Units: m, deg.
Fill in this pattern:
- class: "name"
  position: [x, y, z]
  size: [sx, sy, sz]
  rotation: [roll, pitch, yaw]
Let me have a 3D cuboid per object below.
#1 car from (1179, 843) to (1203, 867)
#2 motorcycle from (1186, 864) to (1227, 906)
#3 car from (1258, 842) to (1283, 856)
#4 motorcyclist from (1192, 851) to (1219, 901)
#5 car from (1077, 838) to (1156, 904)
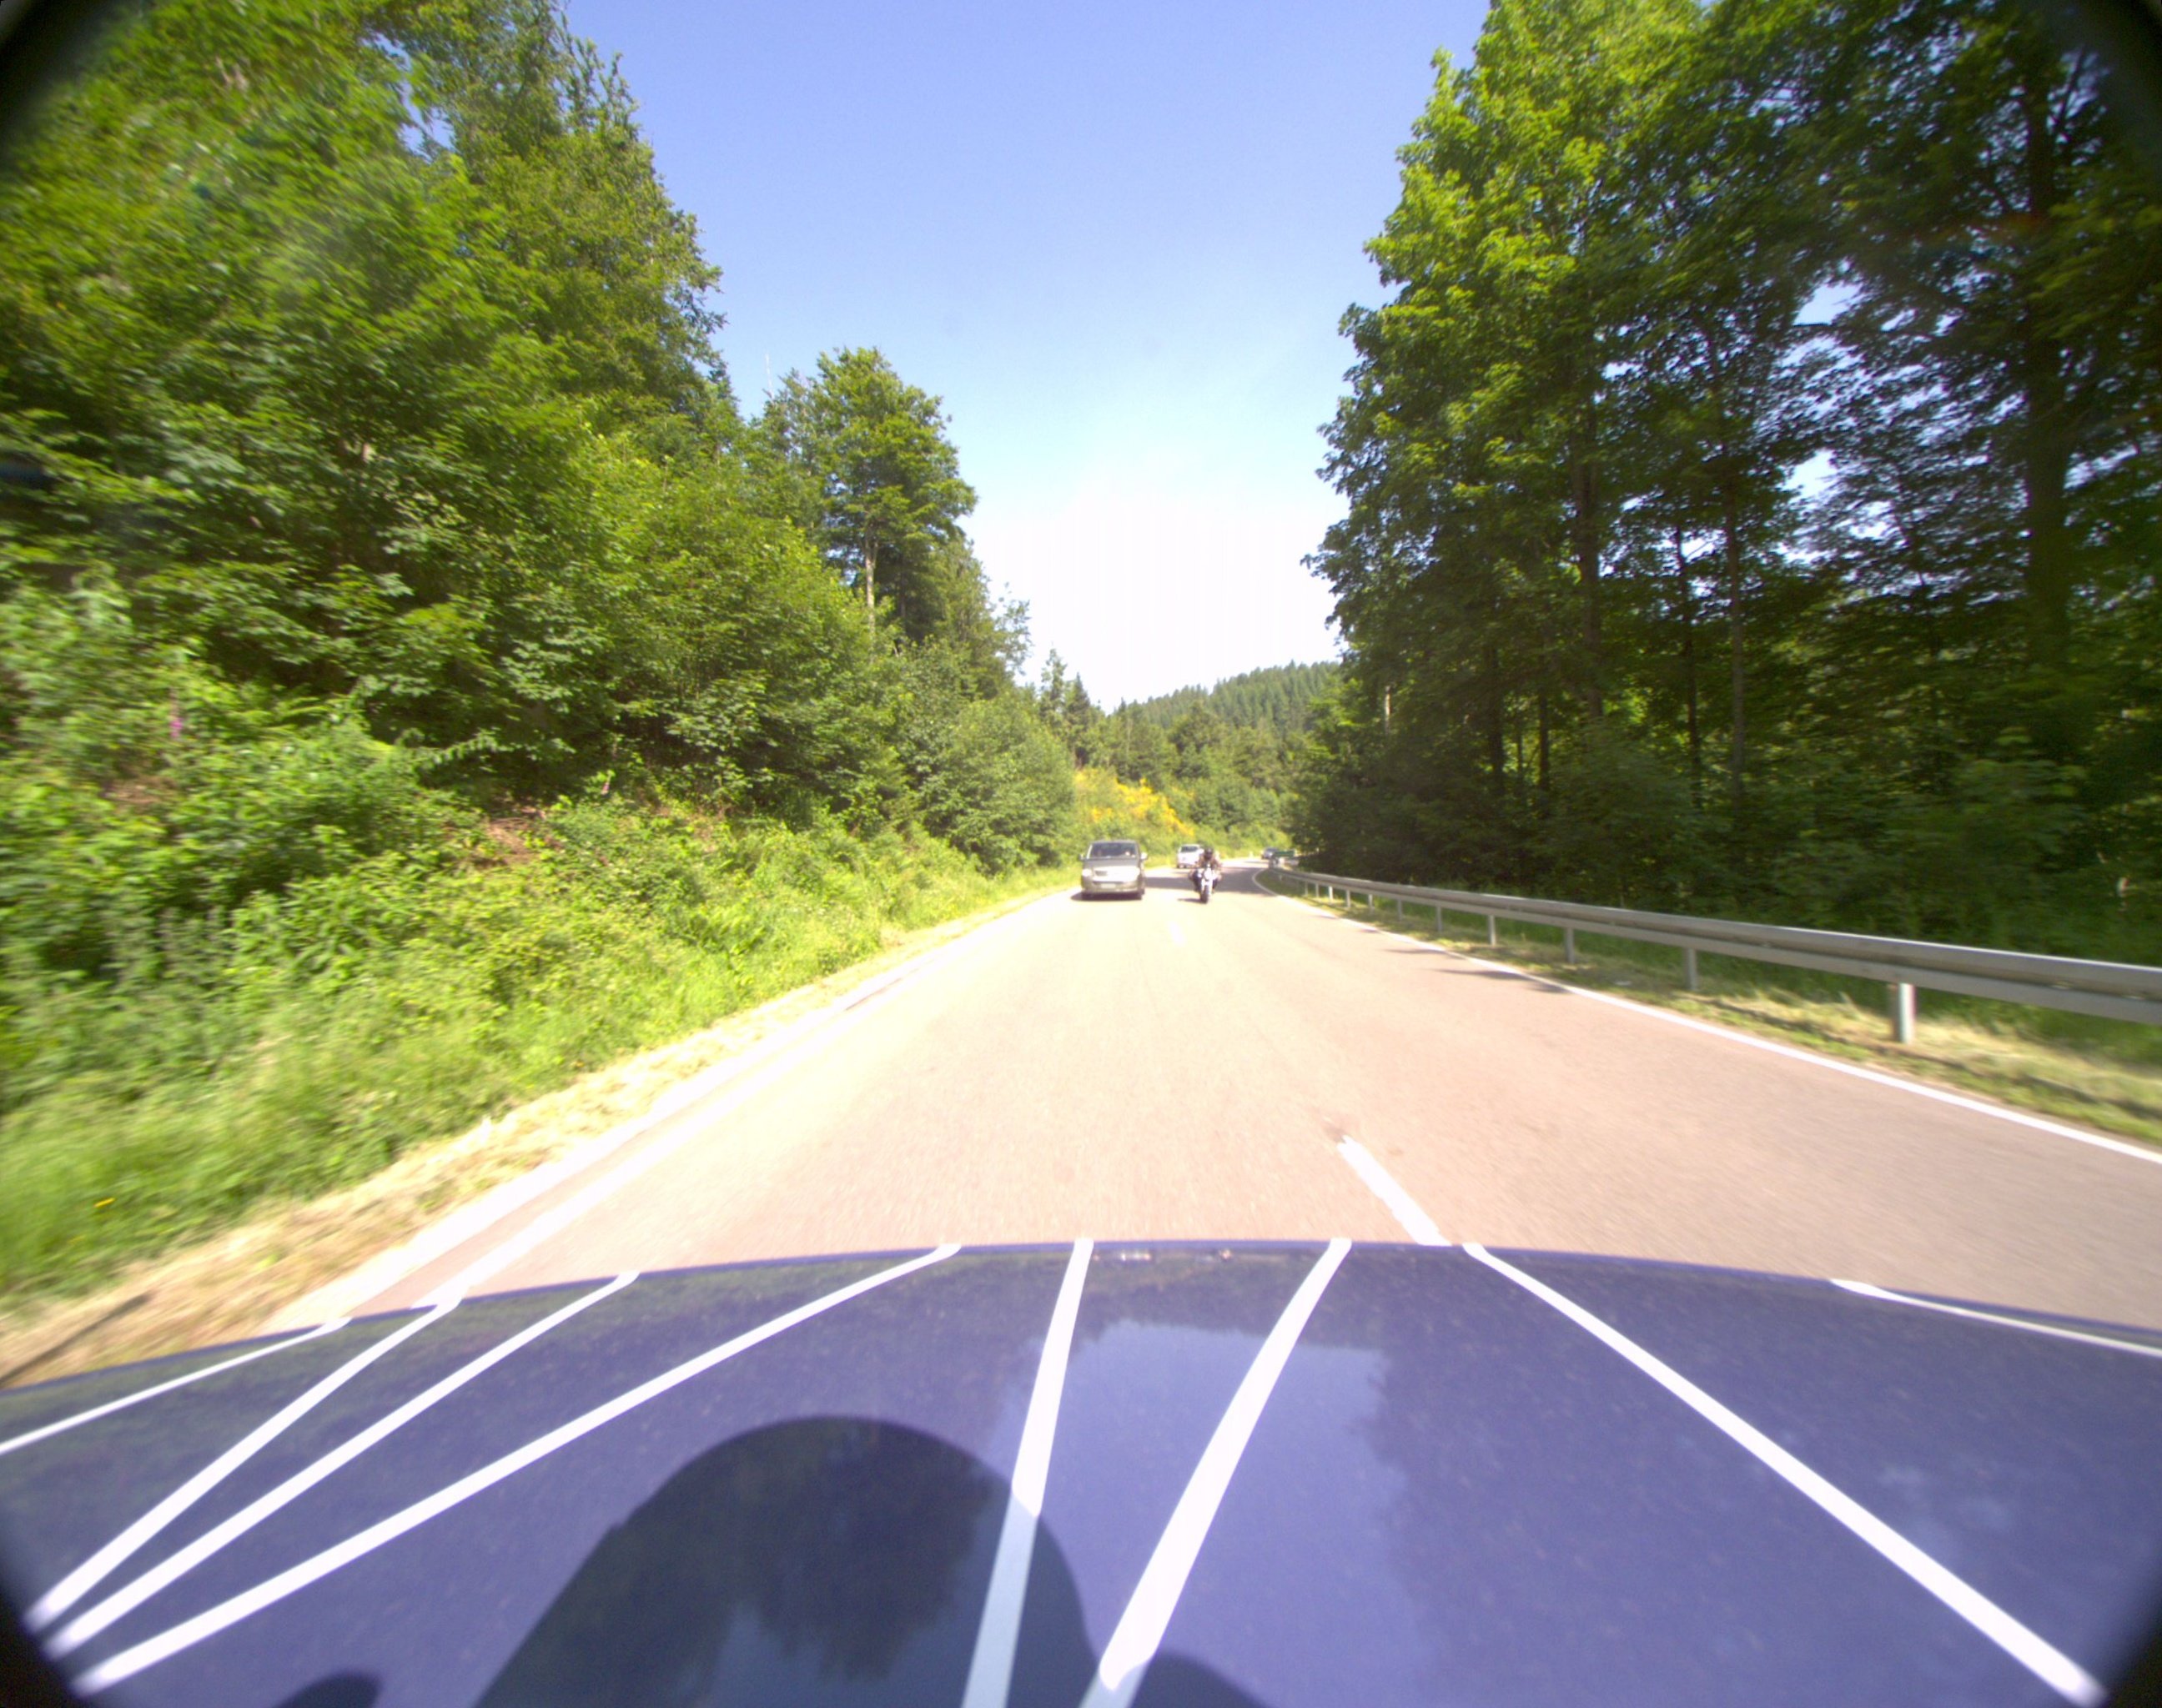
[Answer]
- class: "car"
  position: [8.787, 0.045, 60.475]
  size: [1.651, 1.749, 3.797]
  rotation: [1, 2, 11]
- class: "motorcycle"
  position: [3.704, 0.900, 22.426]
  size: [1.109, 1.117, 1.962]
  rotation: [-1, 1, 9]
- class: "car"
  position: [23.506, -0.653, 94.104]
  size: [1.994, 1.634, 4.006]
  rotation: [0, 2, 30]
- class: "motorcyclist"
  position: [3.659, 0.625, 22.350]
  size: [0.716, 1.422, 1.000]
  rotation: [-1, 1, 9]
- class: "car"
  position: [1.302, 0.490, 25.303]
  size: [2.028, 1.940, 4.902]
  rotation: [-1, 1, 9]
